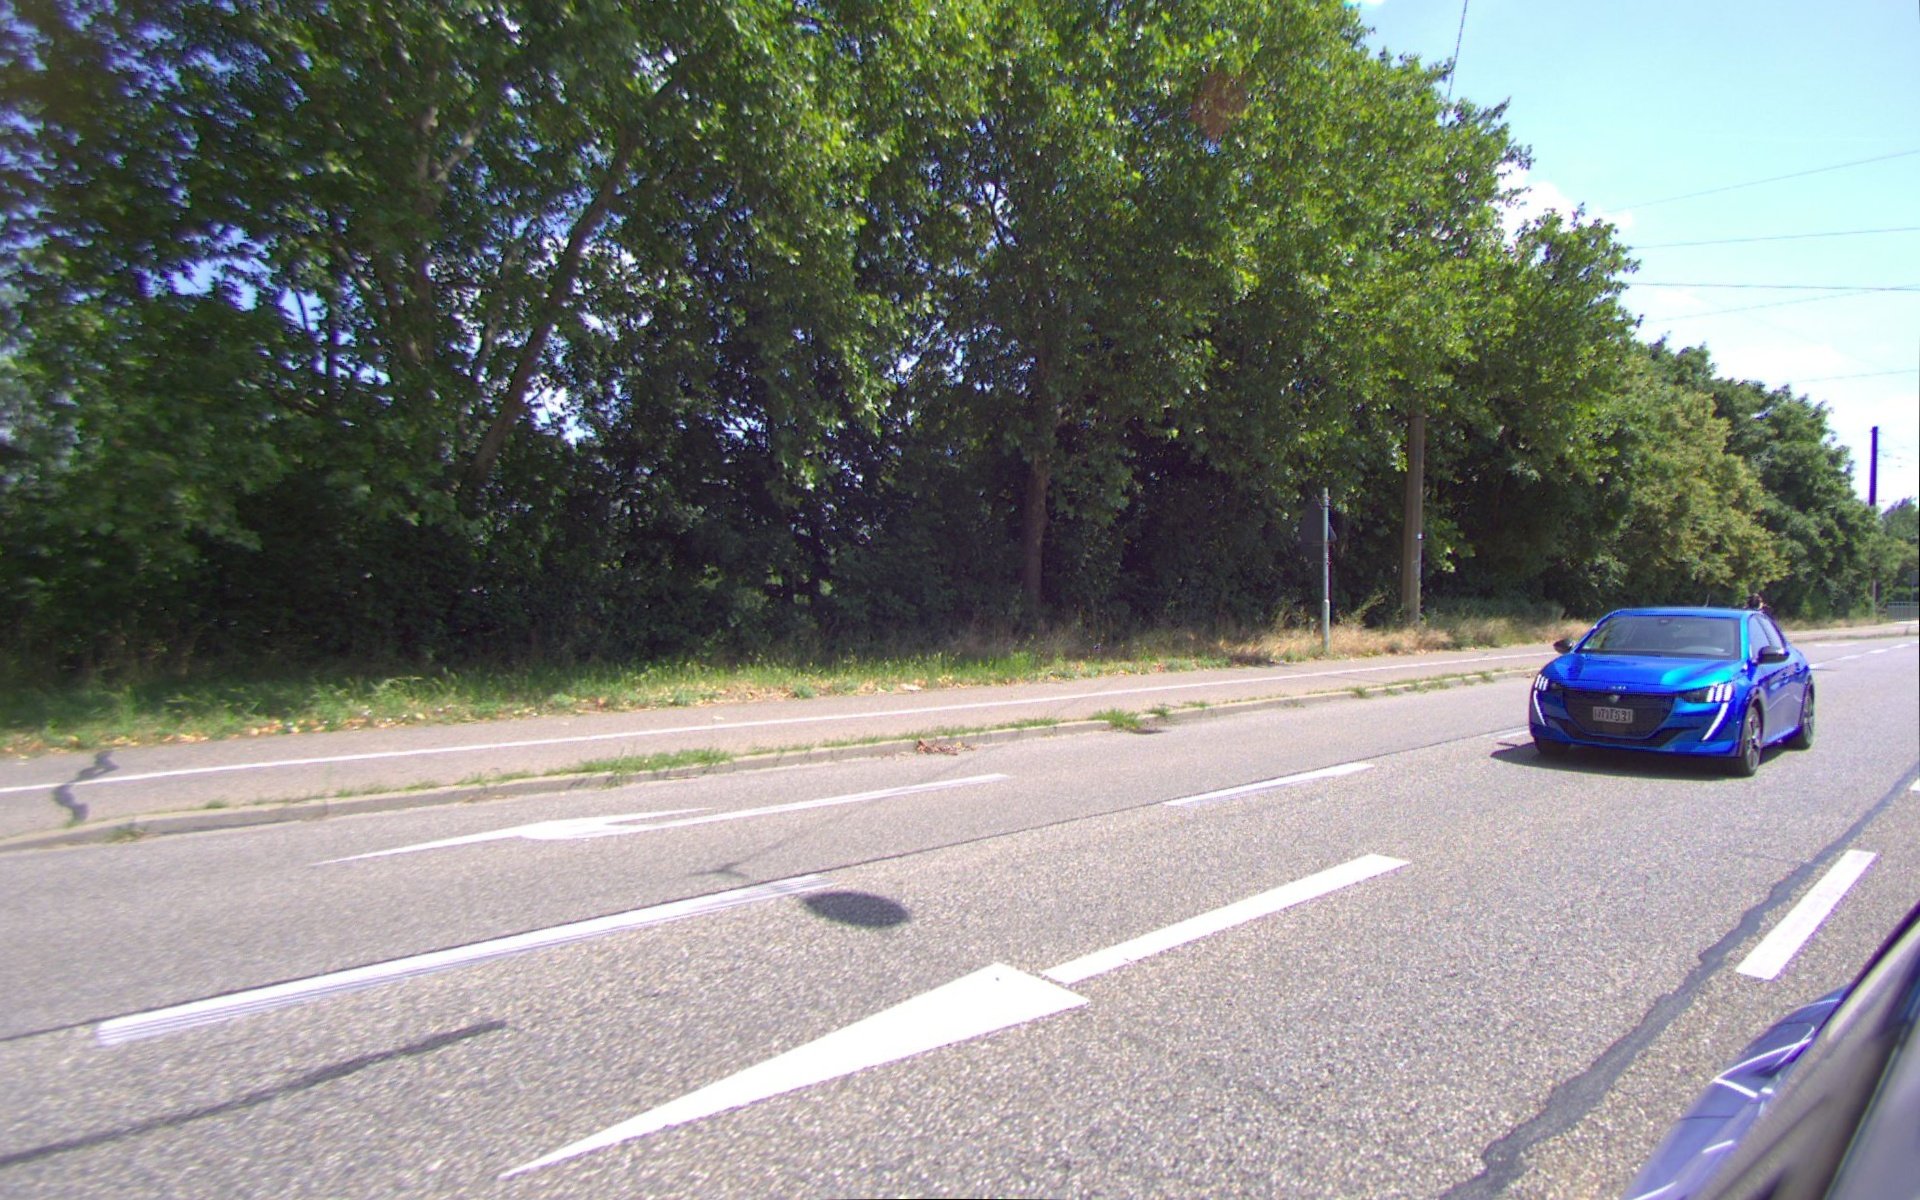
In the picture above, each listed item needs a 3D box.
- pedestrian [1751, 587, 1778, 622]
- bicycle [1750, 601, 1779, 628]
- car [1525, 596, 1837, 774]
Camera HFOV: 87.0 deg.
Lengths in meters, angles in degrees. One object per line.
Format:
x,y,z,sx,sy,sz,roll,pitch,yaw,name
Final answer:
32.737,0.176,41.176,1.032,1.391,0.629,0,2,-41,pedestrian
32.780,0.598,41.225,1.816,1.037,0.560,-1,2,-41,bicycle
7.206,0.676,9.991,3.677,1.423,1.659,0,0,-40,car
